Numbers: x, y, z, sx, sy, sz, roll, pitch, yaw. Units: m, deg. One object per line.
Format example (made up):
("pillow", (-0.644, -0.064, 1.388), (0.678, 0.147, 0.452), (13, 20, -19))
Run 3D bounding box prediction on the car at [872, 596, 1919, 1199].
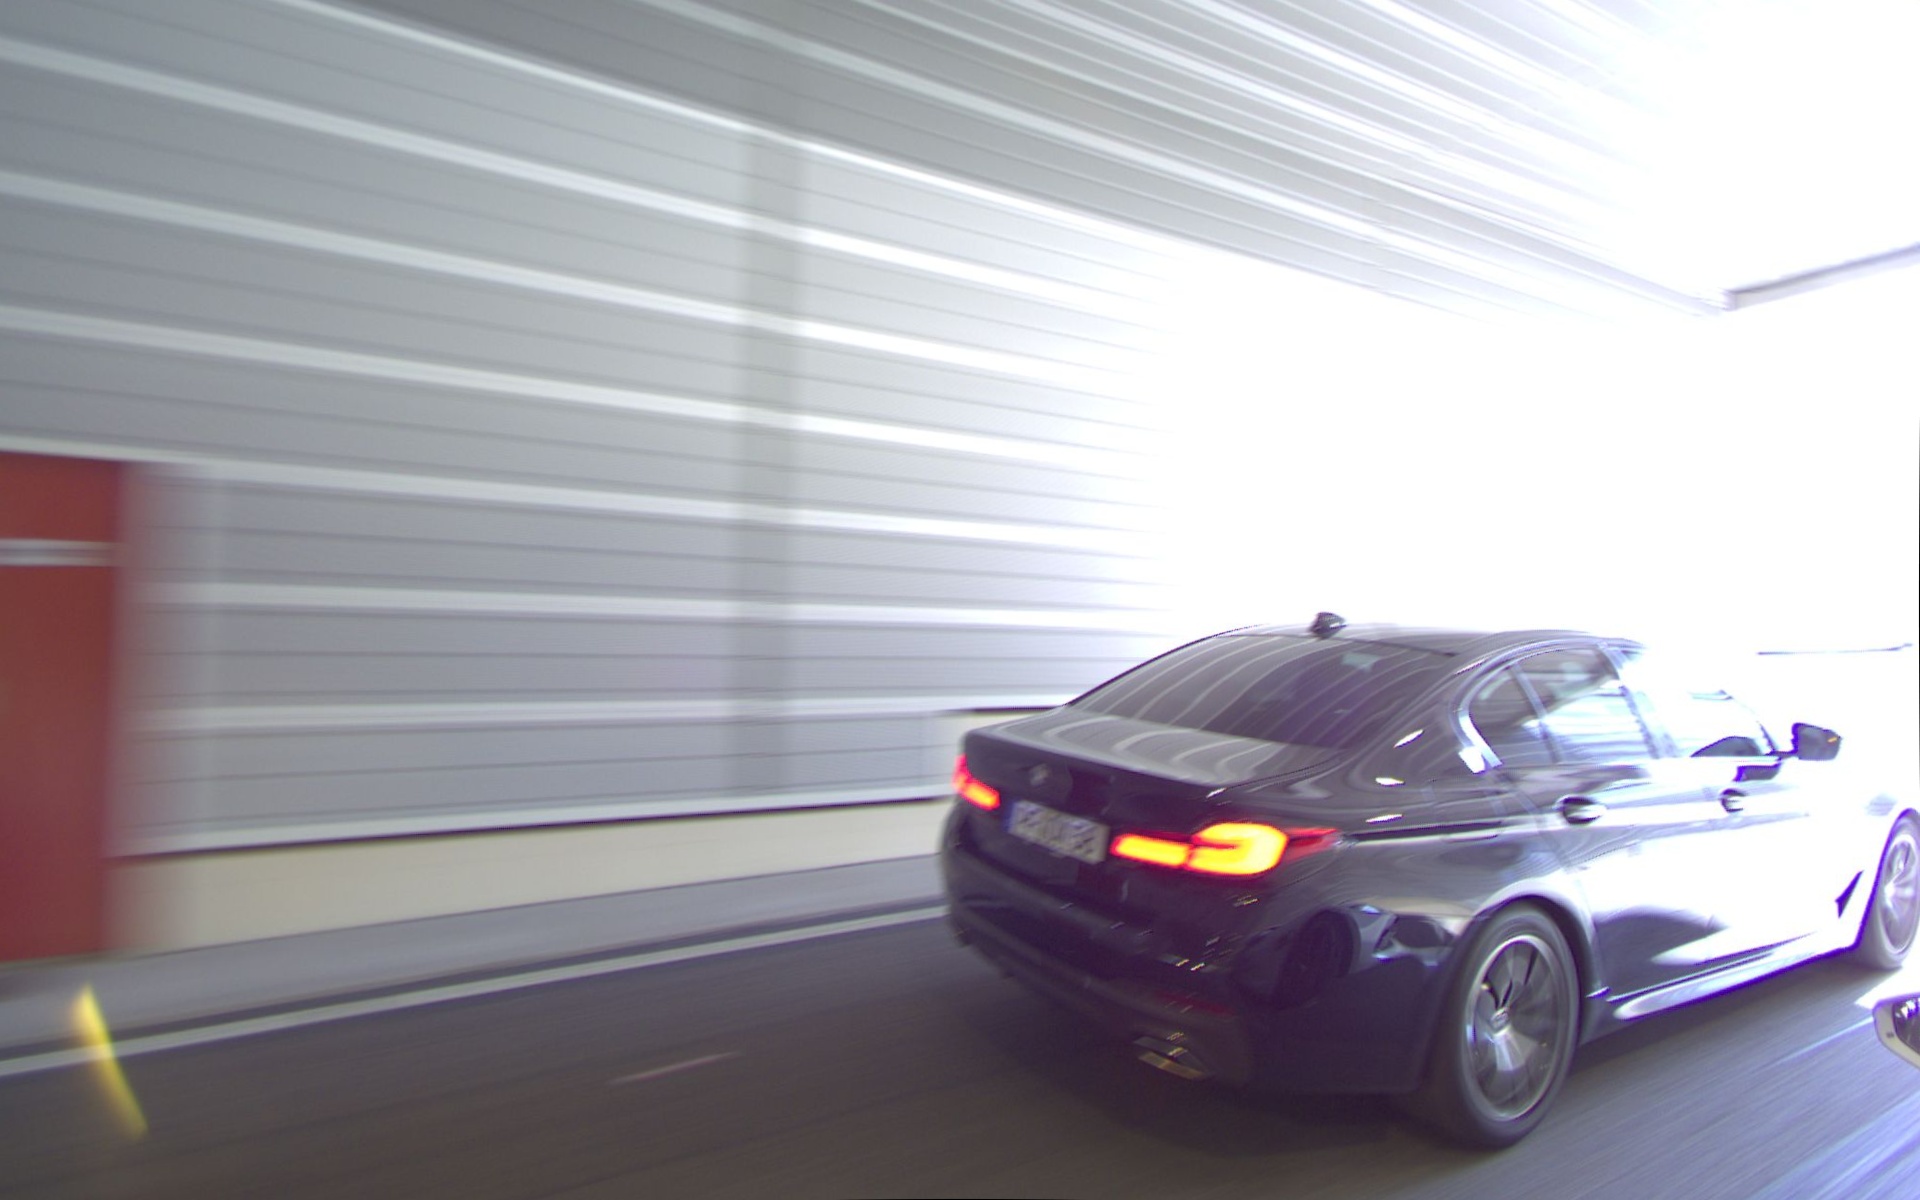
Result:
("car", (2.262, 0.783, 4.187), (4.943, 1.458, 1.800), (2, 0, -30))
